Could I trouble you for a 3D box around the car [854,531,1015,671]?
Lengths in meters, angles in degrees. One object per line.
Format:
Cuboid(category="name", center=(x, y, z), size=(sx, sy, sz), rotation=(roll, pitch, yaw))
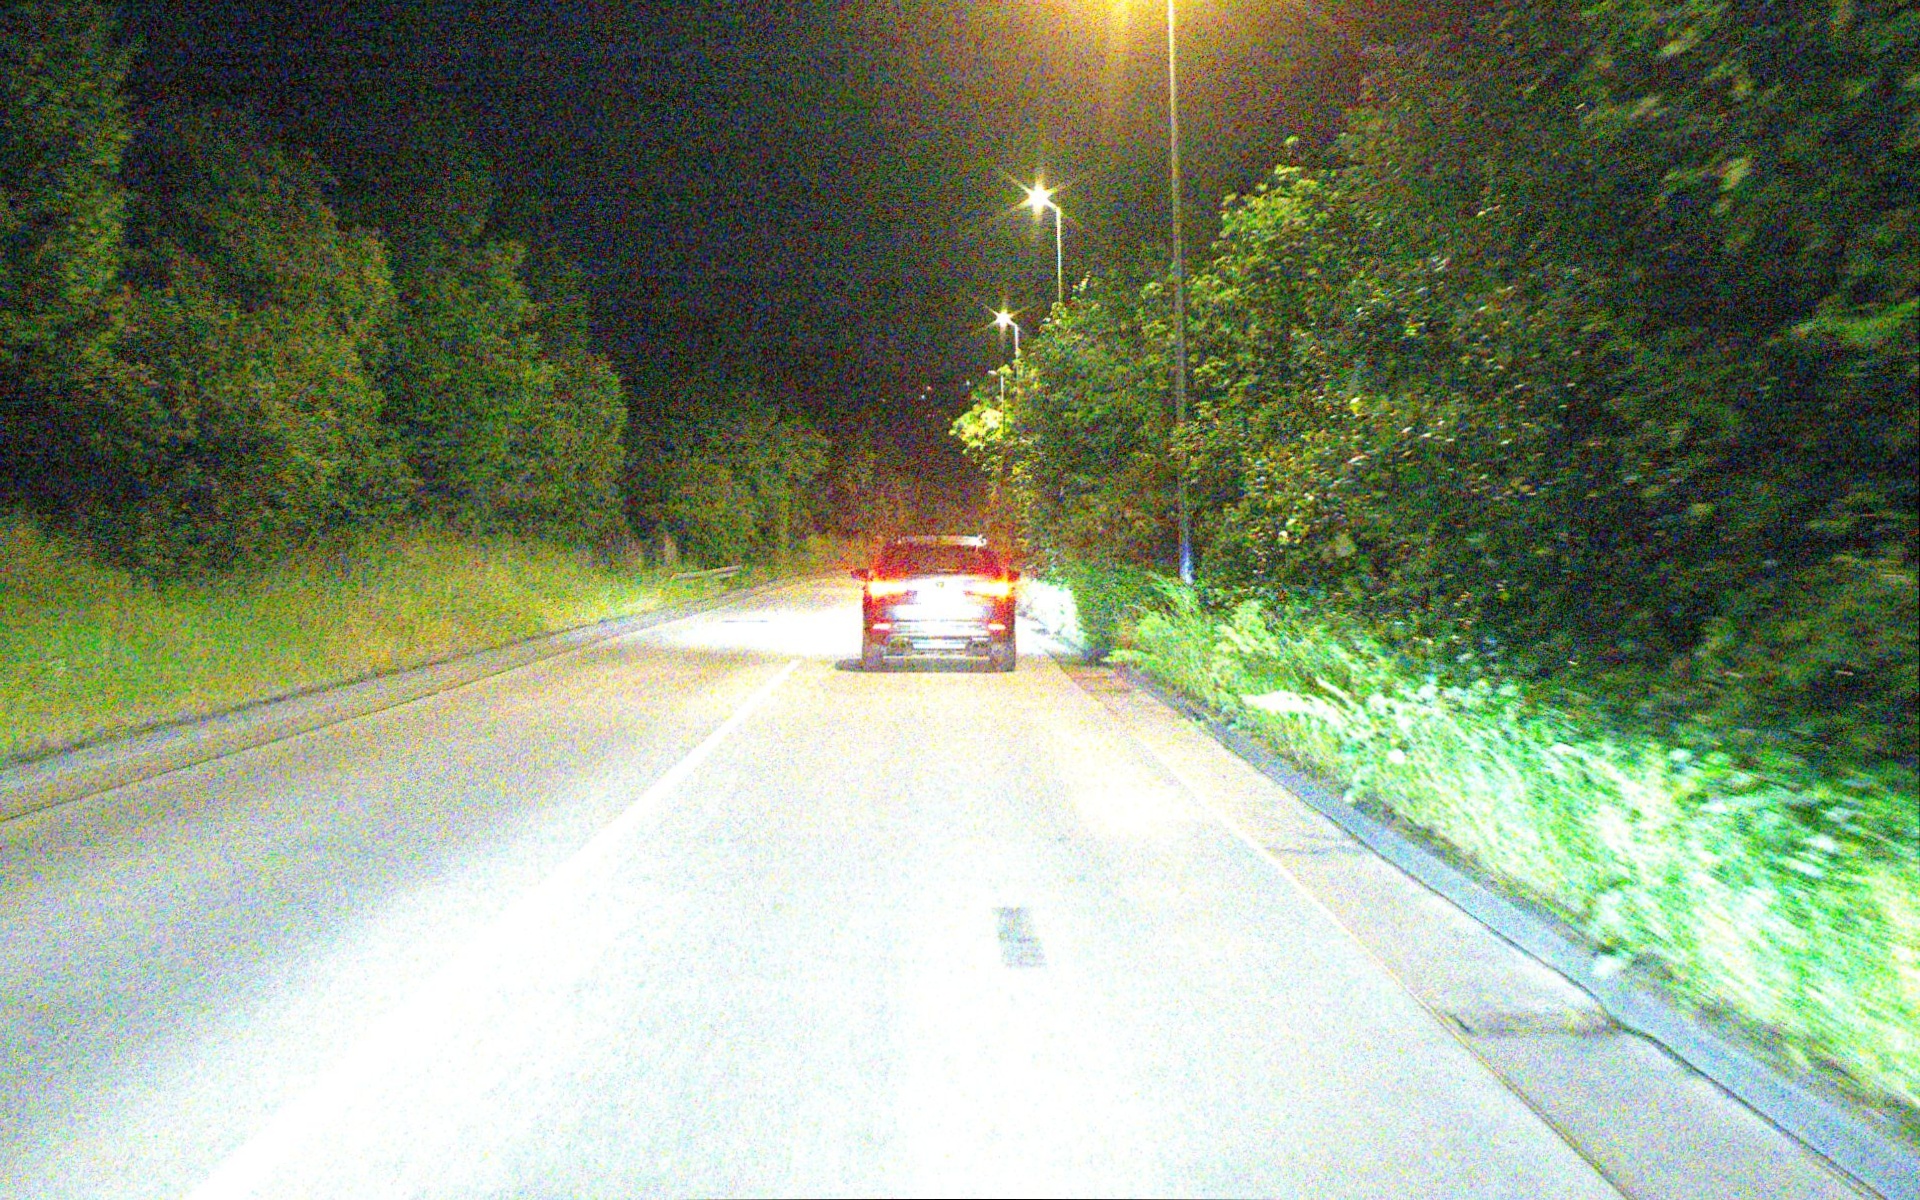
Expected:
Cuboid(category="car", center=(-0.350, -0.022, 41.187), size=(1.814, 1.568, 3.944), rotation=(1, 1, -2))
